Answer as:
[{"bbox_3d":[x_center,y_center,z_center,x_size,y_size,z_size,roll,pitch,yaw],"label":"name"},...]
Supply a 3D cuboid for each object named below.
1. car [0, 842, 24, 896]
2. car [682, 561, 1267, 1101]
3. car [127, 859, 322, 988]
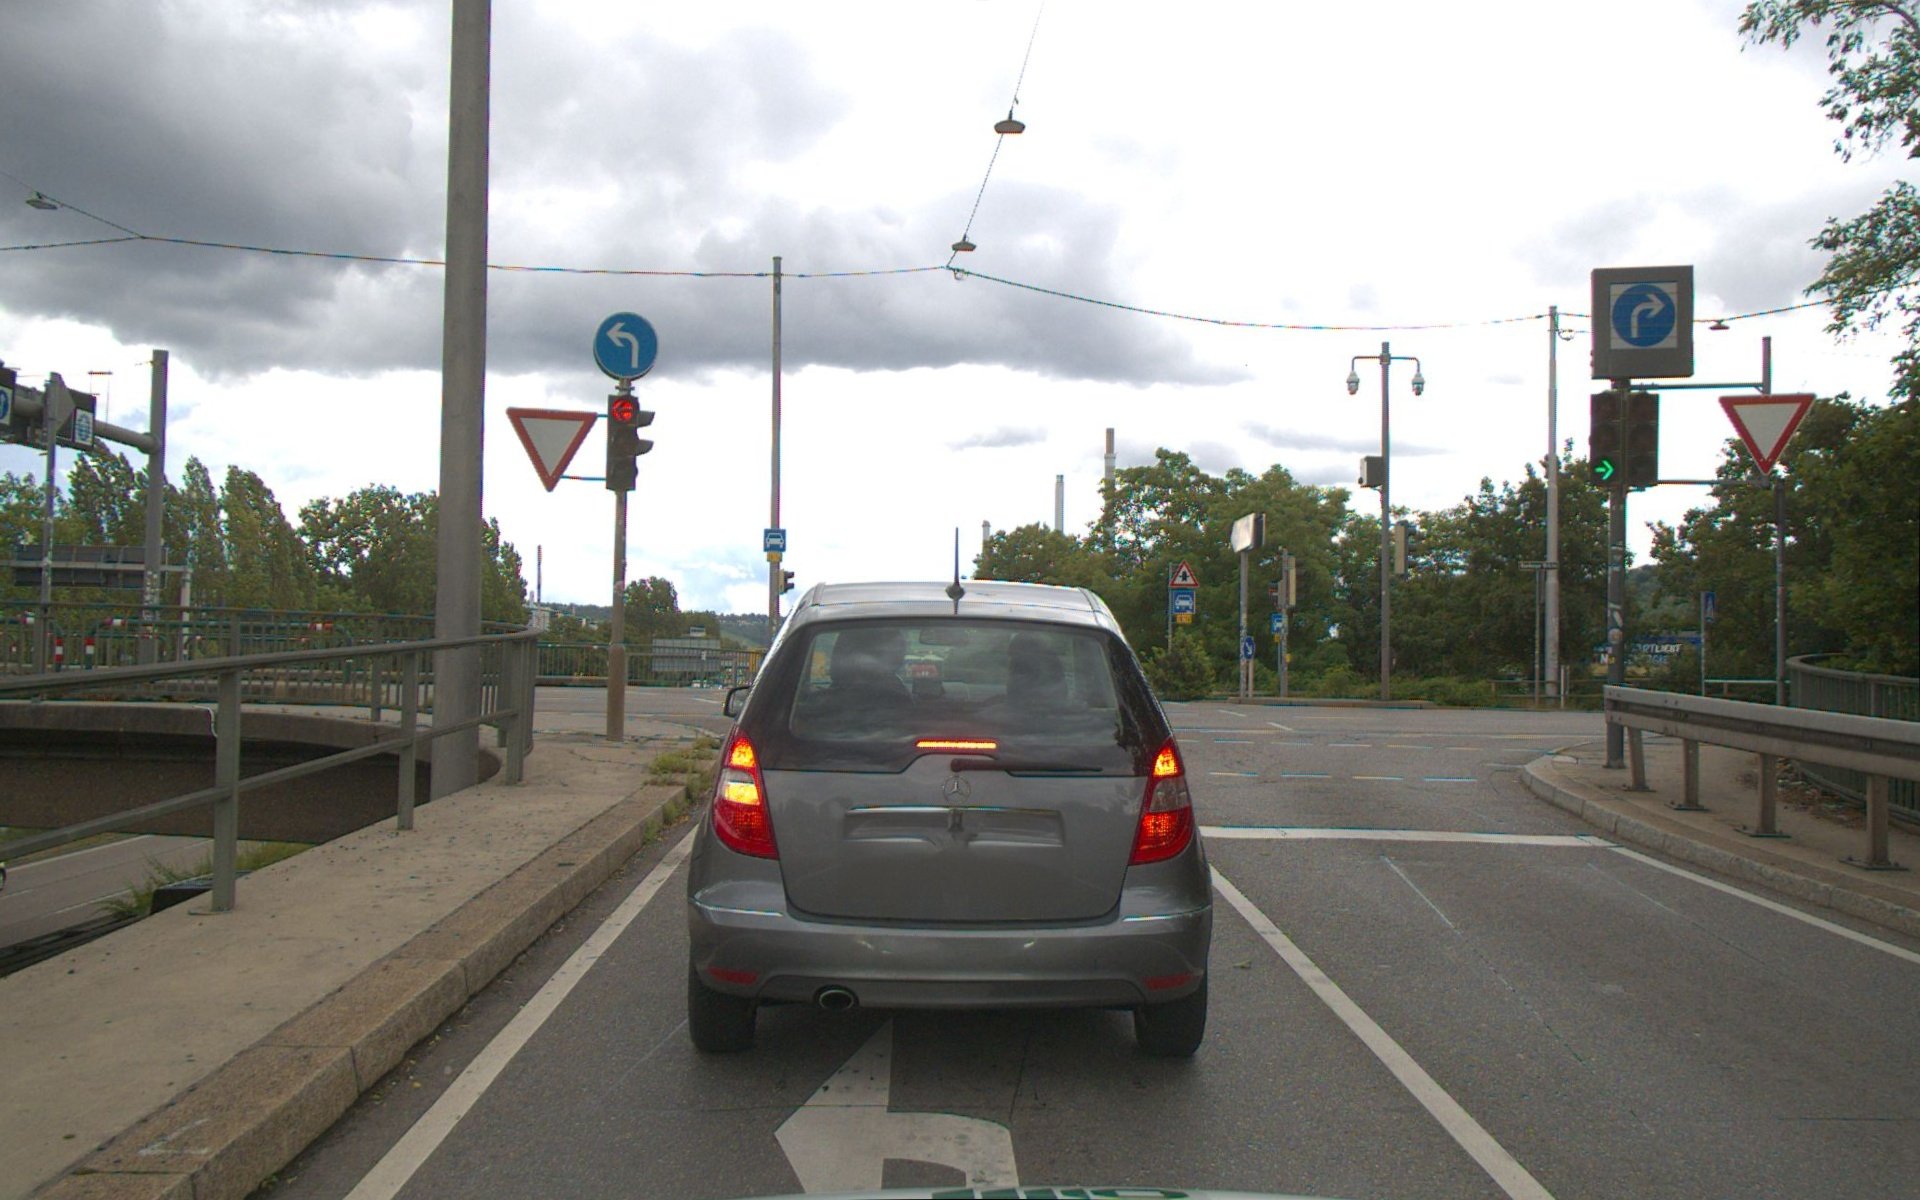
[{"bbox_3d":[-29.989,8.195,49.291,1.830,1.483,4.152,0,-2,-1],"label":"car"},{"bbox_3d":[0.027,0.692,6.657,1.704,1.570,3.540,1,0,-1],"label":"car"},{"bbox_3d":[-16.338,7.151,37.088,1.952,2.049,5.253,0,-2,0],"label":"car"}]
